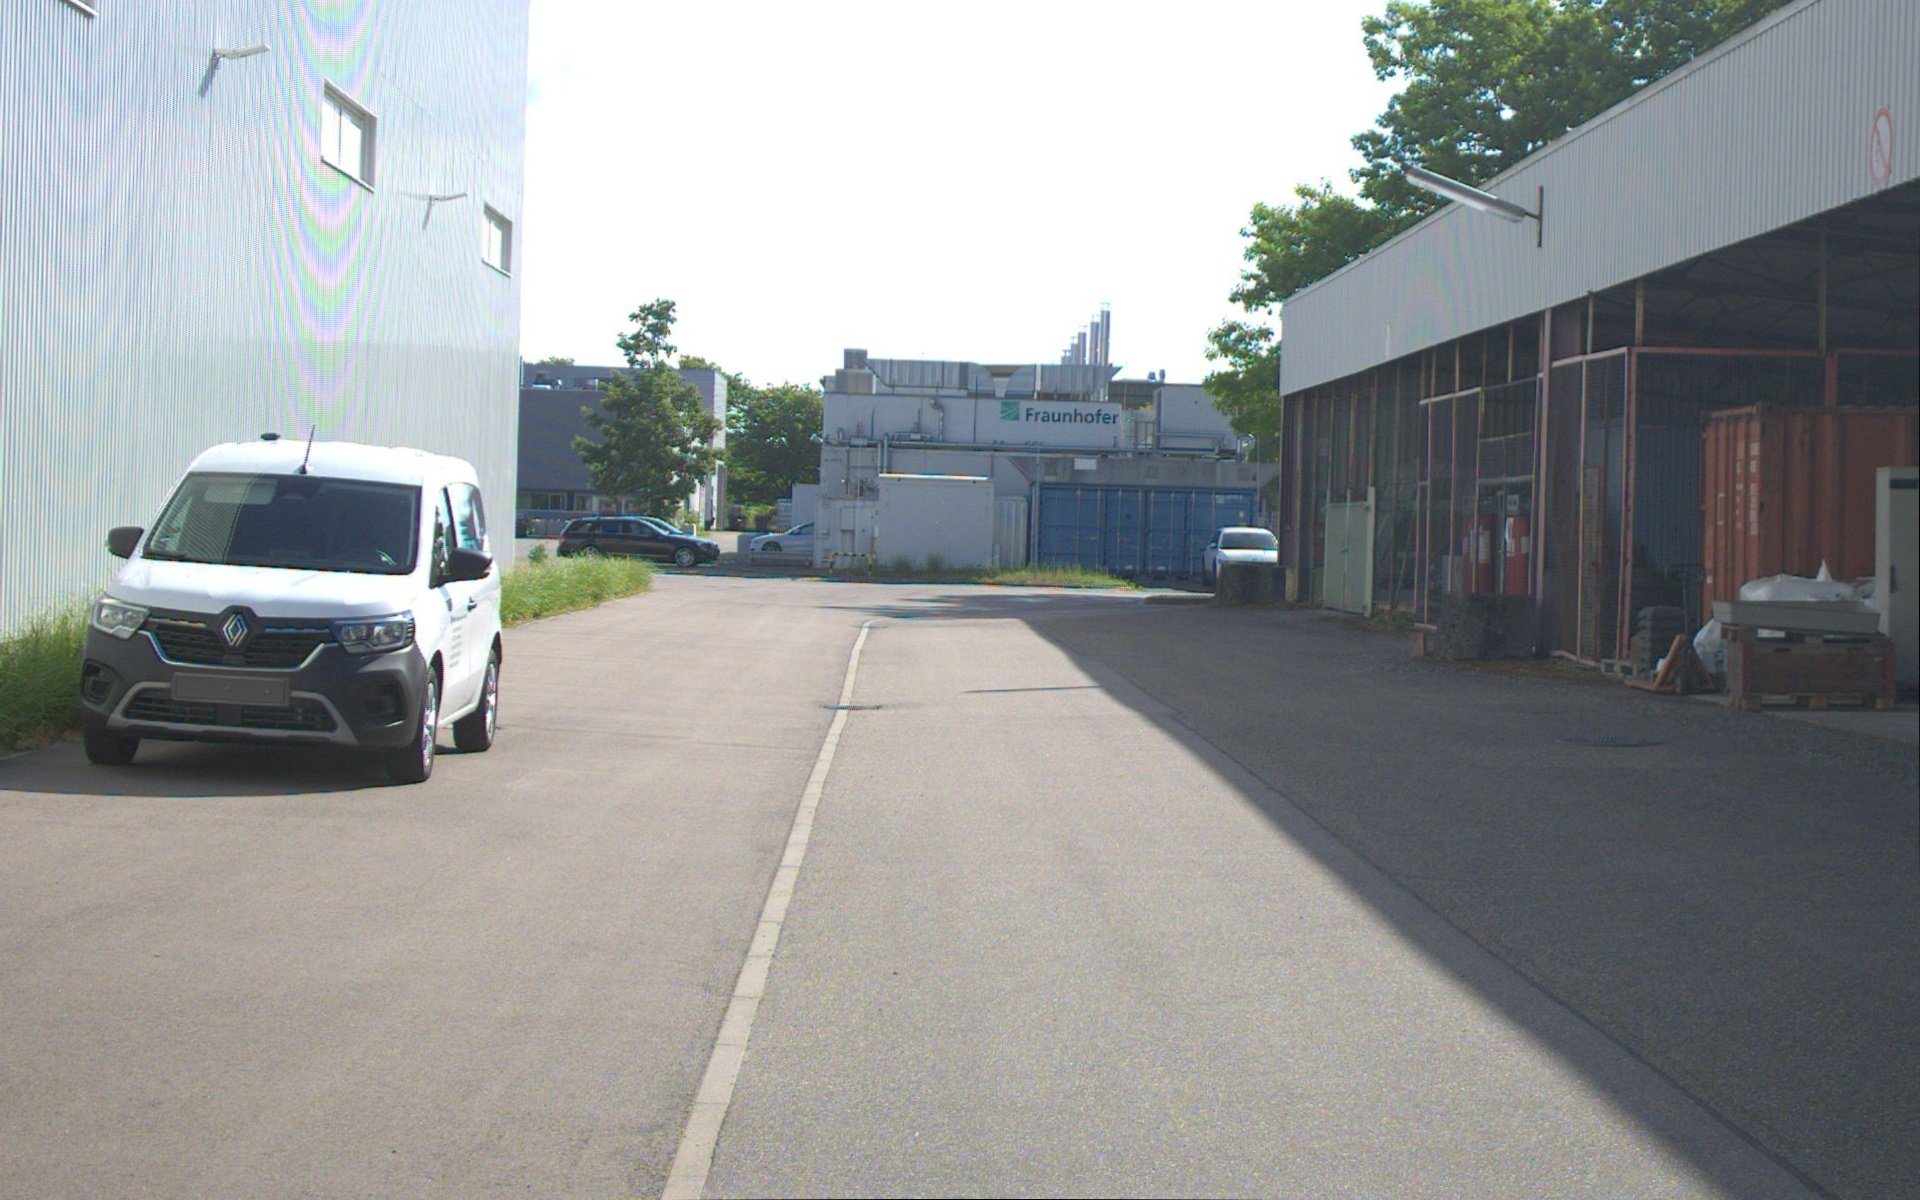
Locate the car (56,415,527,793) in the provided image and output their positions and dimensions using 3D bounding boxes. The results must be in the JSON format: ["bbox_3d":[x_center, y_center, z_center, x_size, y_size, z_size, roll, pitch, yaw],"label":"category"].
[{"bbox_3d":[-3.652,-0.015,19.593,1.783,1.809,4.602,3,1,-1],"label":"car"}]

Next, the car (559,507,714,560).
[{"bbox_3d":[-9.529,-1.966,101.481,4.447,1.525,1.824,0,1,-1],"label":"car"}]

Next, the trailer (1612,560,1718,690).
[{"bbox_3d":[6.268,0.207,30.619,0.551,1.114,1.547,0,1,-3],"label":"trailer"}]

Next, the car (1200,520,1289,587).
[{"bbox_3d":[7.360,-1.236,89.190,1.979,1.597,4.378,0,2,1],"label":"car"}]

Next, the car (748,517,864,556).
[{"bbox_3d":[-5.792,-2.387,129.412,4.302,1.452,1.824,0,1,-1],"label":"car"}]
